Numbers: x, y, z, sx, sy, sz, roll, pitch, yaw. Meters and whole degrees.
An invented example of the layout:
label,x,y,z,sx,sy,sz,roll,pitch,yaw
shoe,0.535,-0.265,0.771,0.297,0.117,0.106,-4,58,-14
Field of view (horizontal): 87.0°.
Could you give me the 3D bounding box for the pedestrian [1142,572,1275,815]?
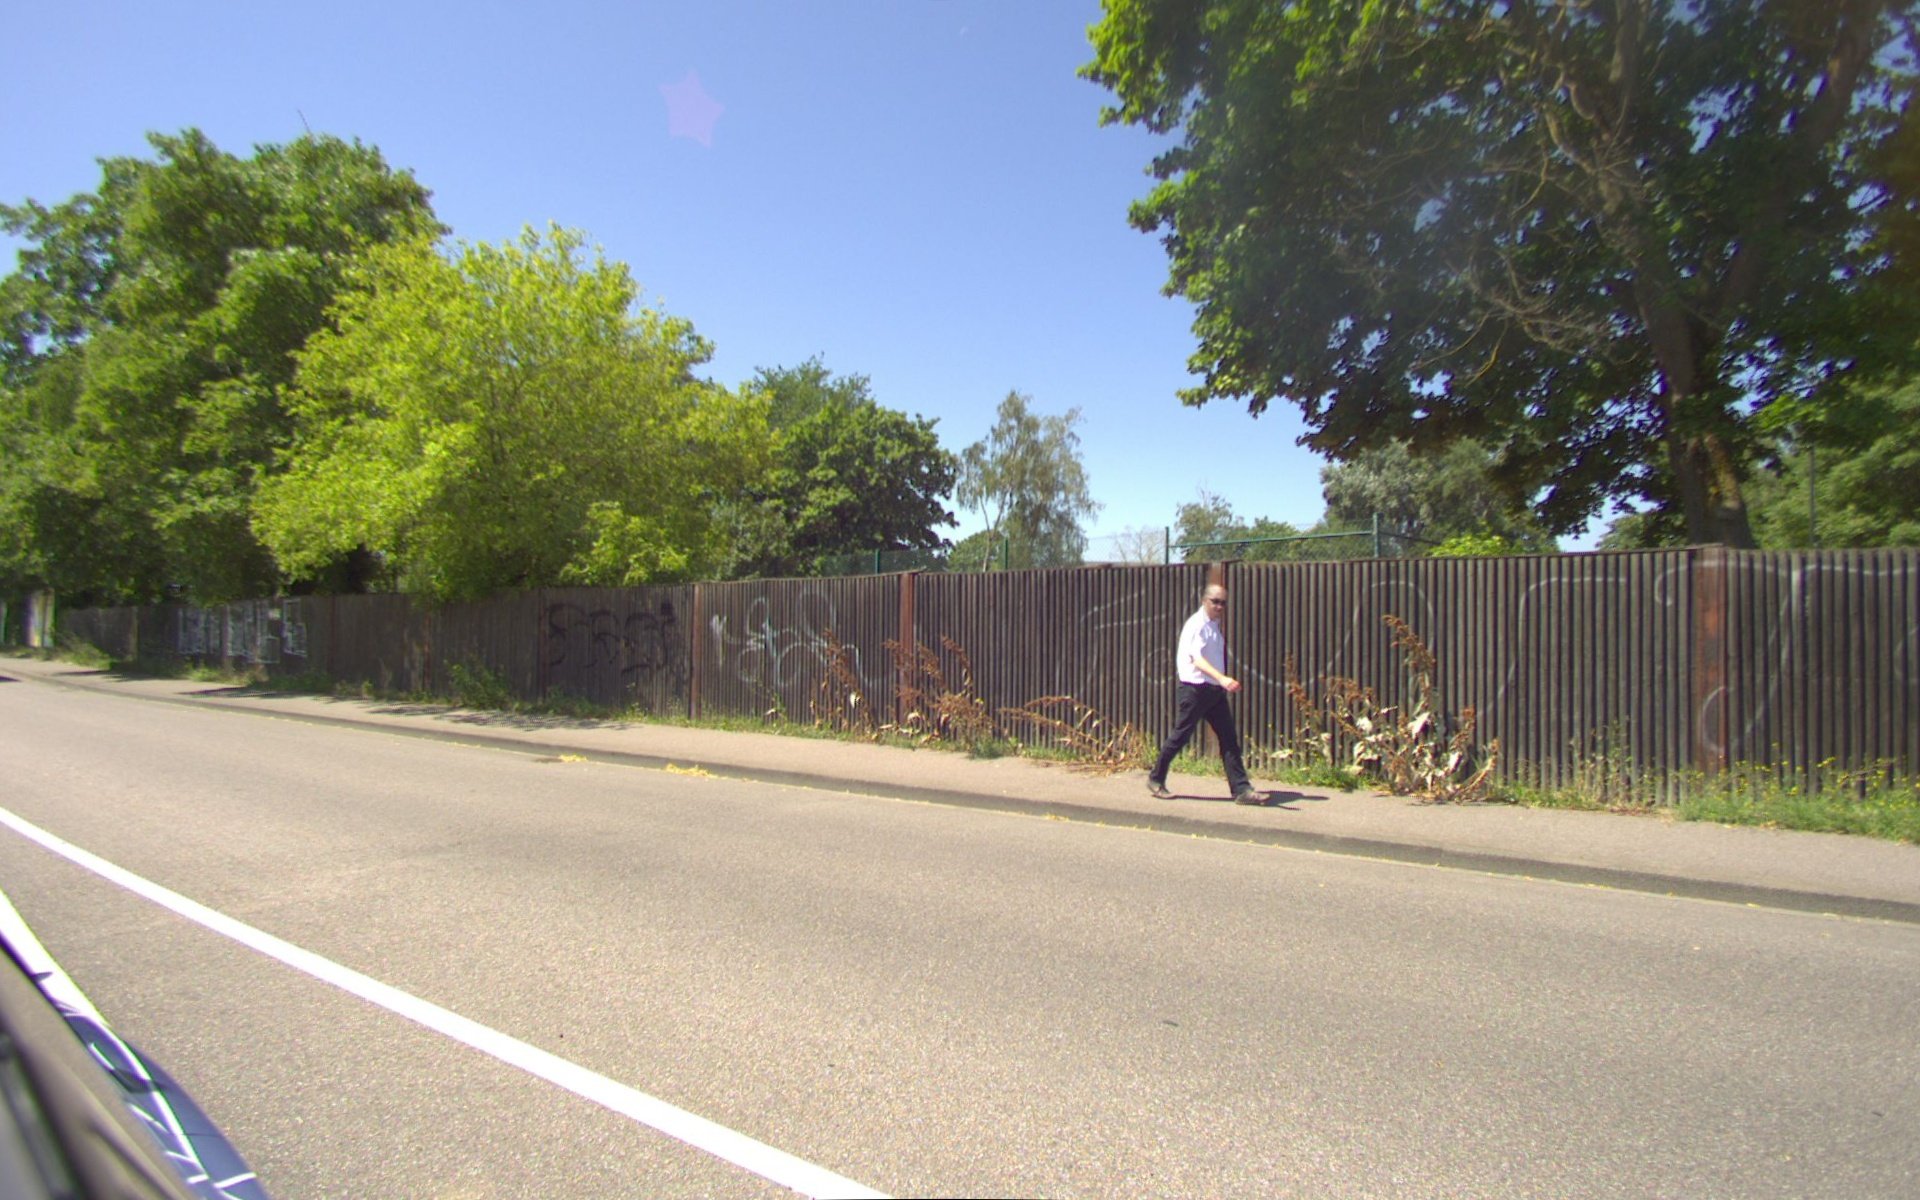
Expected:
label,x,y,z,sx,sy,sz,roll,pitch,yaw
pedestrian,1.998,0.711,8.157,0.850,1.838,0.586,-1,-1,41
